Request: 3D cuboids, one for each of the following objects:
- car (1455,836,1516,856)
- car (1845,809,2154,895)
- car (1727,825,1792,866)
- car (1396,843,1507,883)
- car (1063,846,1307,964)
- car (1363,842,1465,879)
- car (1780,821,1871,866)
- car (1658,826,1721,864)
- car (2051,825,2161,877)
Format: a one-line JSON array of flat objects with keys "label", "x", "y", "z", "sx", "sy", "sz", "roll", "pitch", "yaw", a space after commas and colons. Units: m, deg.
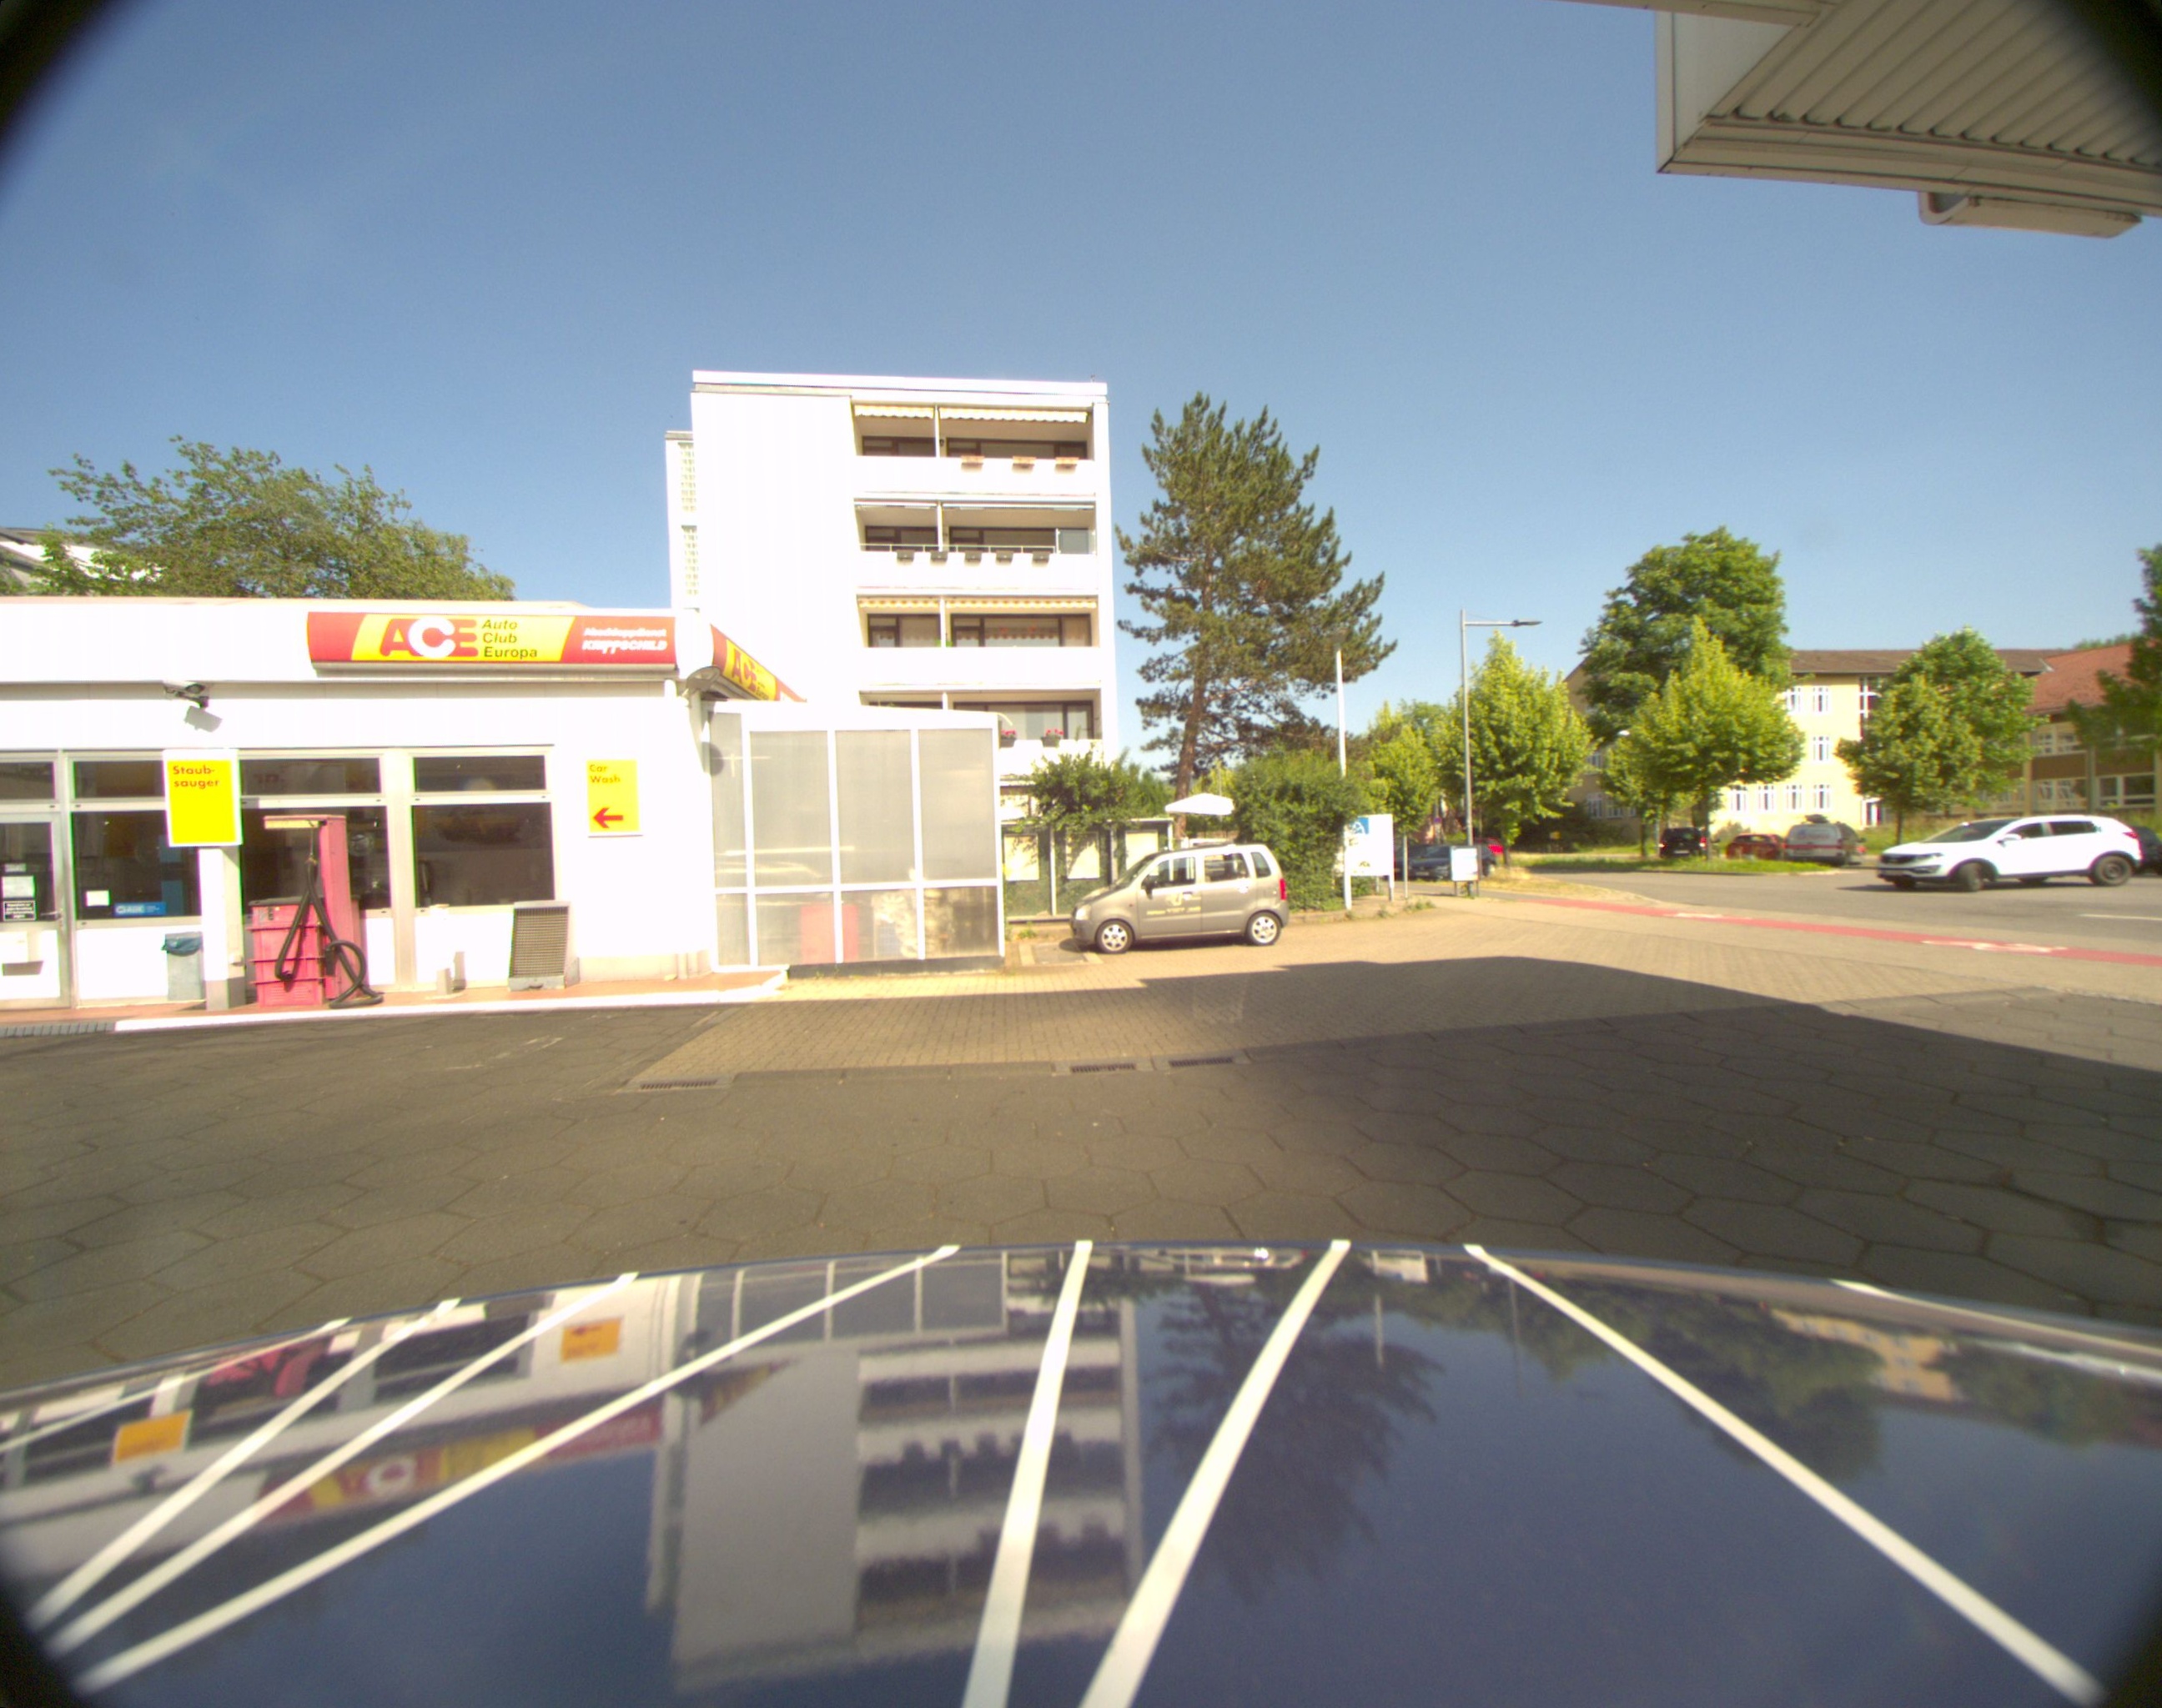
[{"label": "car", "x": 28.128, "y": -0.571, "z": 52.828, "sx": 3.731, "sy": 1.383, "sz": 1.877, "roll": 0, "pitch": 1, "yaw": -24}, {"label": "car", "x": 21.666, "y": -0.027, "z": 18.169, "sx": 4.383, "sy": 1.759, "sz": 2.002, "roll": -2, "pitch": 1, "yaw": 13}, {"label": "car", "x": 30.122, "y": -0.376, "z": 33.679, "sx": 1.876, "sy": 1.712, "sz": 4.234, "roll": 2, "pitch": 2, "yaw": 45}, {"label": "car", "x": 14.143, "y": 0.306, "z": 28.970, "sx": 4.233, "sy": 1.409, "sz": 1.876, "roll": 0, "pitch": 1, "yaw": -33}, {"label": "car", "x": 1.603, "y": 0.765, "z": 12.567, "sx": 3.661, "sy": 1.608, "sz": 1.691, "roll": -3, "pitch": 1, "yaw": -4}, {"label": "car", "x": 13.935, "y": 0.234, "z": 31.771, "sx": 4.233, "sy": 1.473, "sz": 1.876, "roll": -1, "pitch": 1, "yaw": -33}, {"label": "car", "x": 30.528, "y": -0.431, "z": 31.126, "sx": 4.233, "sy": 1.713, "sz": 1.876, "roll": -1, "pitch": 2, "yaw": -35}, {"label": "car", "x": 29.250, "y": -0.432, "z": 36.487, "sx": 1.876, "sy": 1.712, "sz": 4.234, "roll": 2, "pitch": 2, "yaw": 45}, {"label": "car", "x": 31.375, "y": -0.111, "z": 23.285, "sx": 4.234, "sy": 1.451, "sz": 1.737, "roll": -1, "pitch": 1, "yaw": -42}]
